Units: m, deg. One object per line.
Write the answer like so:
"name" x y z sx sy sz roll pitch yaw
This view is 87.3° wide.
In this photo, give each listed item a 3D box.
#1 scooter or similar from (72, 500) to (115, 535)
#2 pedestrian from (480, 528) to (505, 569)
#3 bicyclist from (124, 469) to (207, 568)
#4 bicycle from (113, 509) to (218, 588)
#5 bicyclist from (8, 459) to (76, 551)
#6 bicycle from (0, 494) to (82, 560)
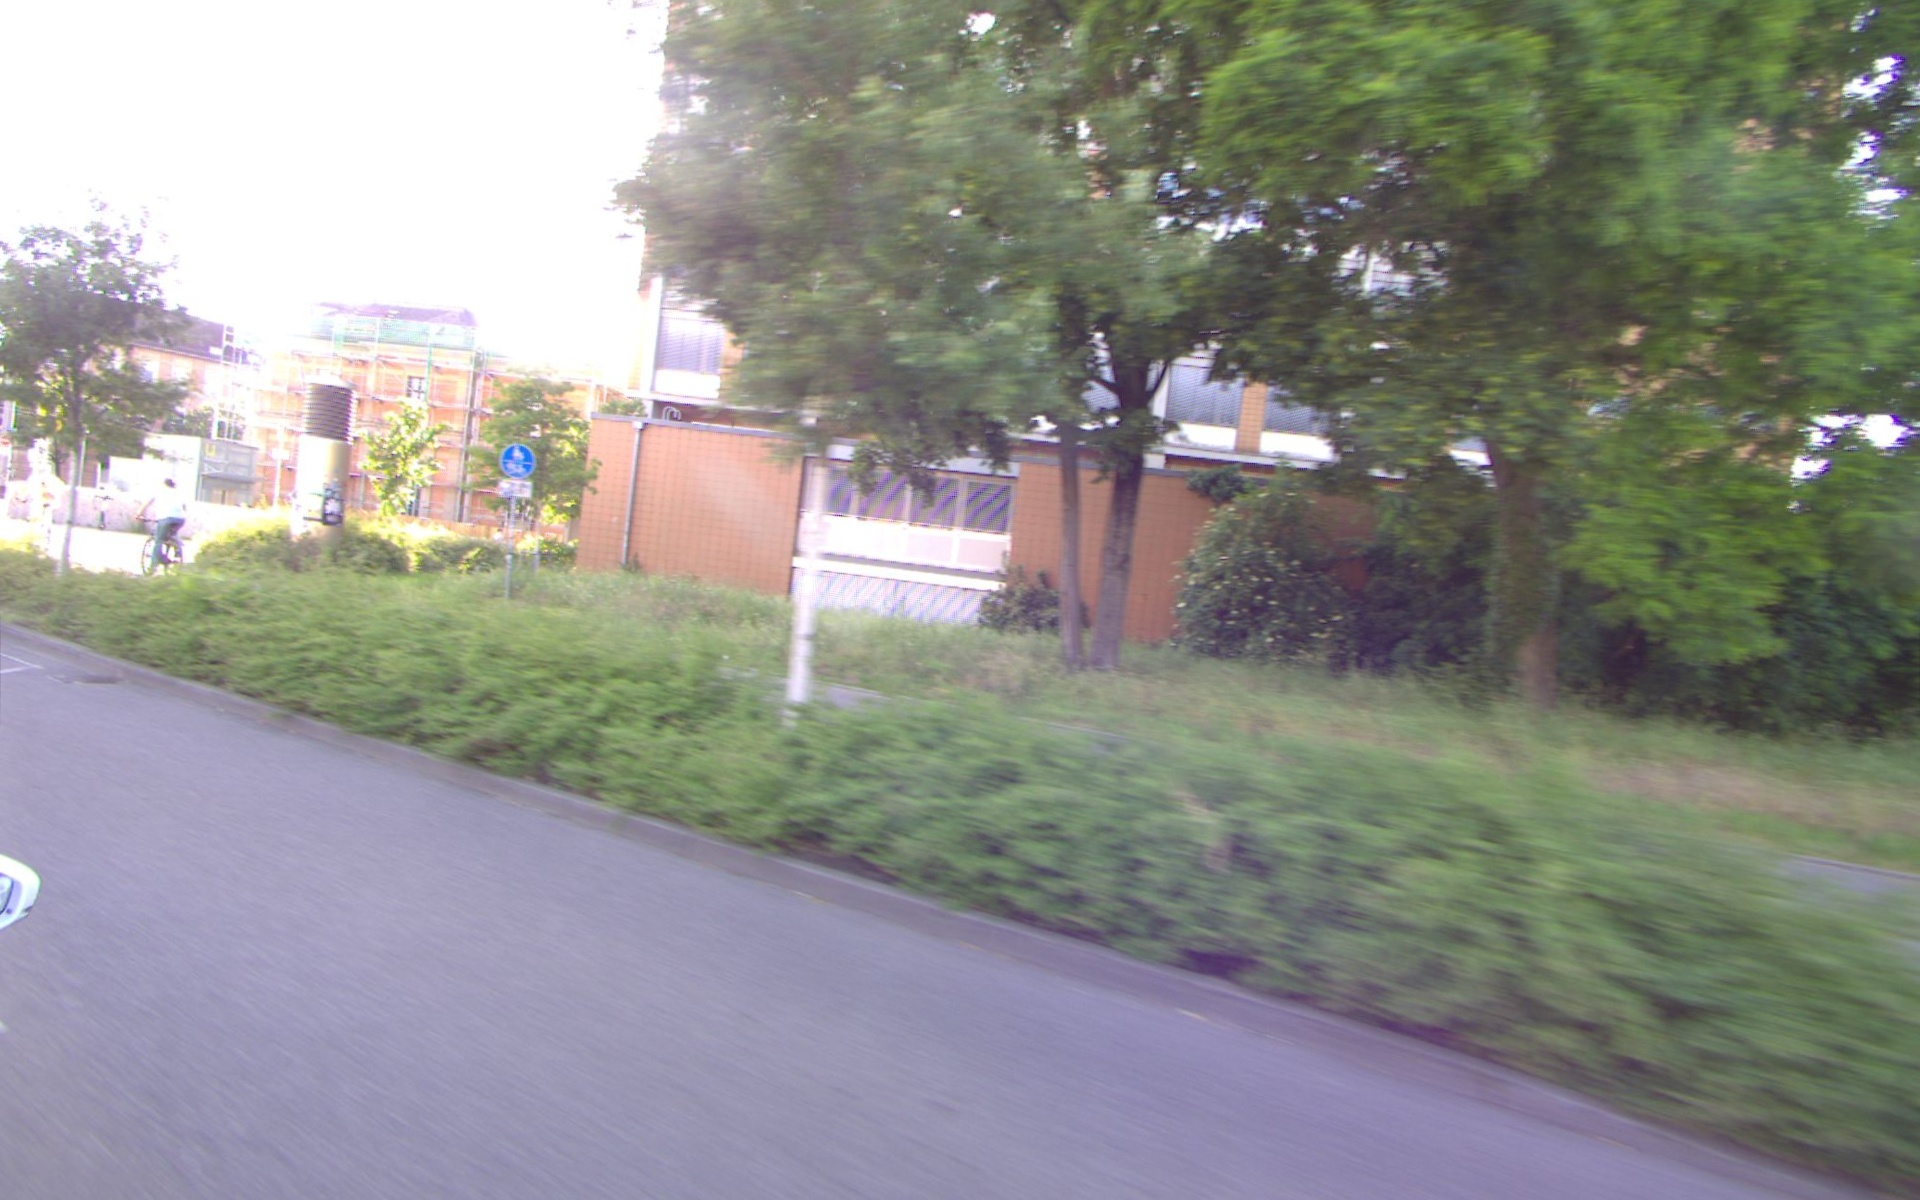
"scooter or similar" -30.864 -2.946 35.848 1.226 1.025 0.468 9 2 15
"pedestrian" -21.912 -2.396 47.145 0.775 1.774 0.537 10 2 30
"bicyclist" -14.365 -1.472 18.189 0.960 1.637 0.721 8 2 27
"bicycle" -14.350 -0.932 18.168 1.837 1.180 0.717 7 1 27
"bicyclist" -19.318 -1.998 21.177 0.961 1.785 0.720 8 2 32
"bicycle" -19.402 -1.545 21.210 1.839 1.180 0.746 8 1 31
